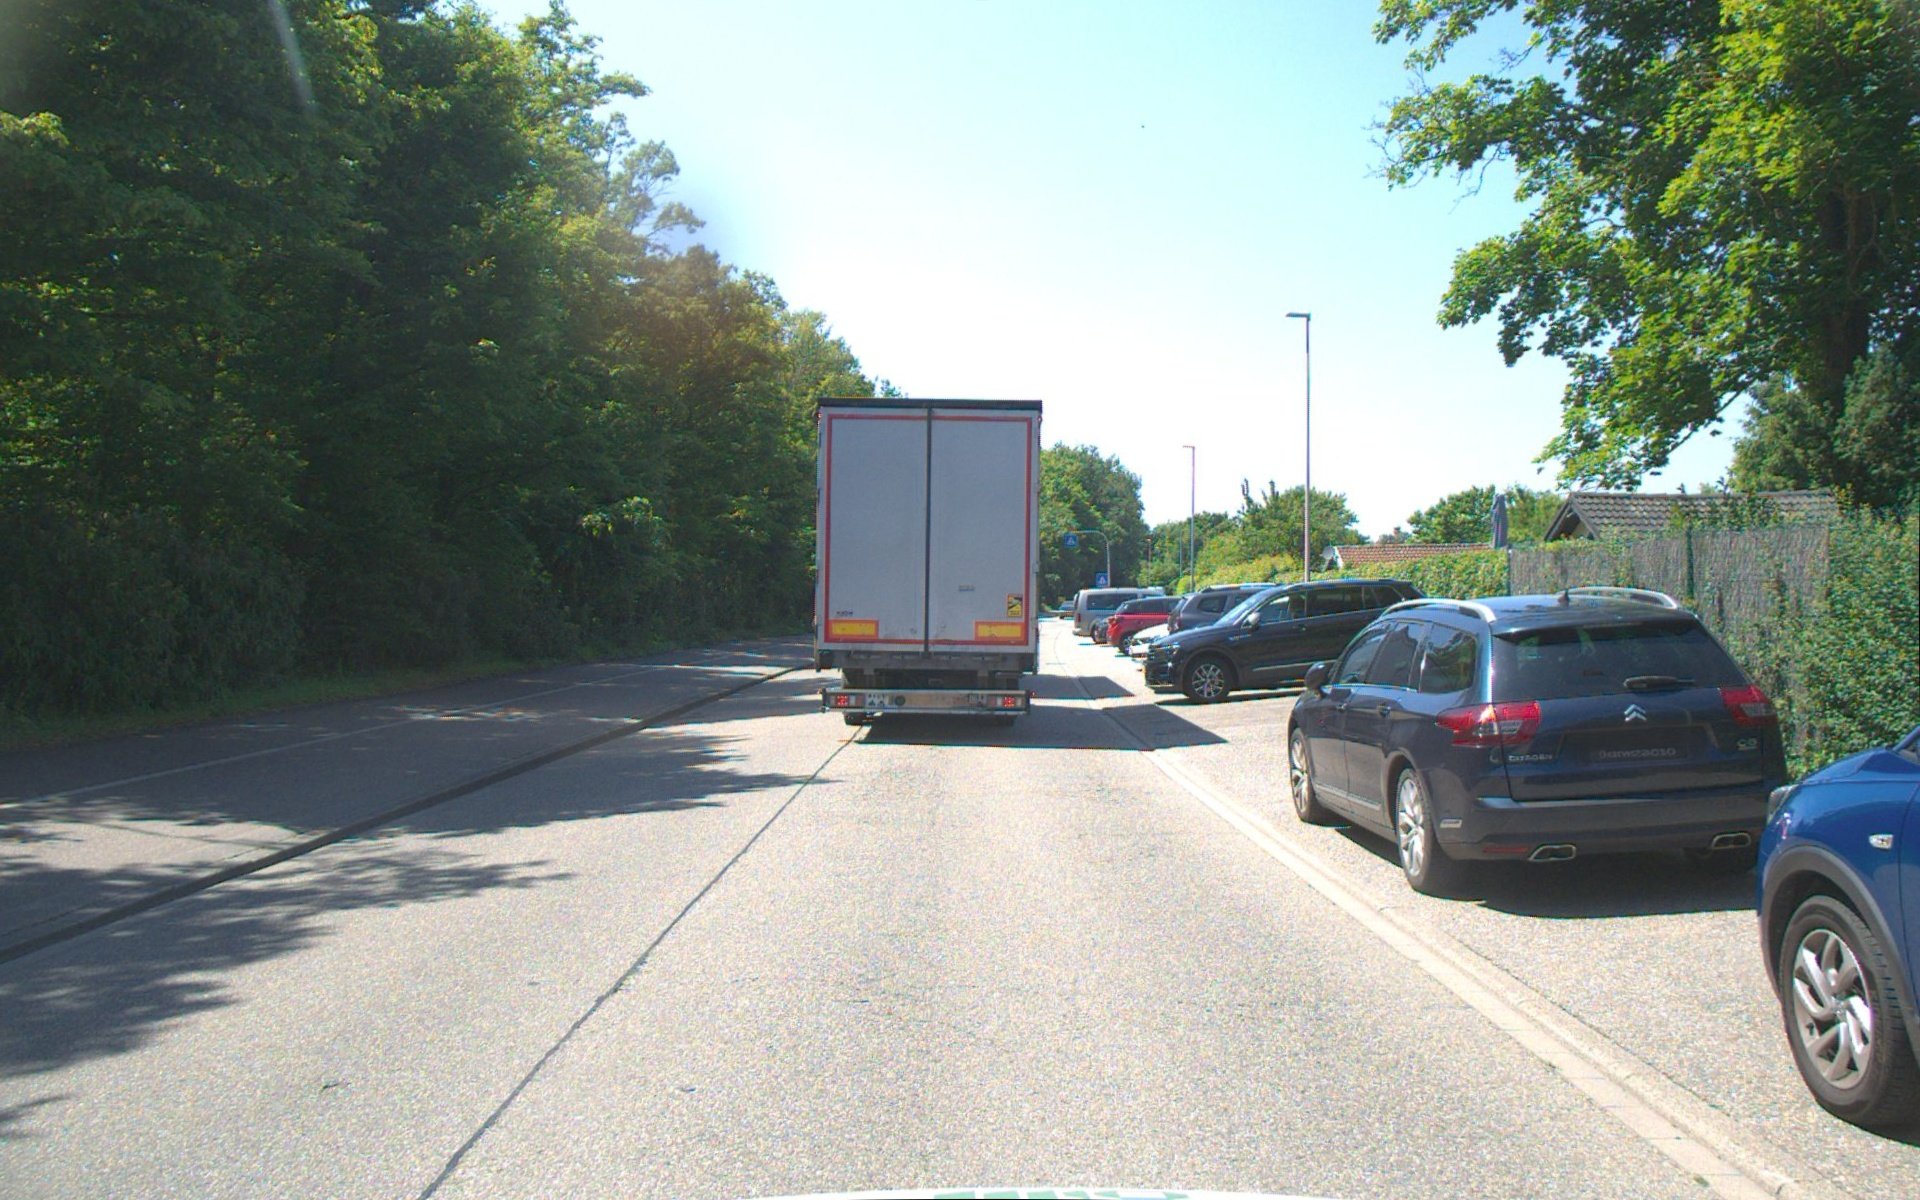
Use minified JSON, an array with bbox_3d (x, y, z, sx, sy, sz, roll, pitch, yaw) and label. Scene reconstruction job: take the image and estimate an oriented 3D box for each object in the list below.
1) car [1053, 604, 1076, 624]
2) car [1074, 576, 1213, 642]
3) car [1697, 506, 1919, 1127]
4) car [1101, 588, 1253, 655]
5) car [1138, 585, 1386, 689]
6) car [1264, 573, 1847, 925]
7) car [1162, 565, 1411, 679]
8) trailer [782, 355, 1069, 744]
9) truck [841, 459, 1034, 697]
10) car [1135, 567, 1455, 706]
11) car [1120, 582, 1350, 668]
[{"bbox_3d":[8.236,1.073,129.696,1.743,1.512,4.002,0,0,4],"label":"car"},{"bbox_3d":[6.215,0.290,56.381,4.525,1.880,1.997,-4,0,3],"label":"car"},{"bbox_3d":[3.393,0.563,3.531,1.753,1.631,4.129,-1,1,0],"label":"car"},{"bbox_3d":[5.806,0.567,44.615,3.838,1.504,1.845,-4,0,3],"label":"car"},{"bbox_3d":[5.009,0.607,27.875,3.912,1.477,1.833,-3,0,6],"label":"car"},{"bbox_3d":[3.183,0.674,9.975,1.753,1.507,4.664,-4,0,0],"label":"car"},{"bbox_3d":[5.900,0.385,30.286,4.169,1.728,1.854,-4,0,3],"label":"car"},{"bbox_3d":[-0.367,-0.558,23.804,3.049,4.174,11.536,-1,0,0],"label":"trailer"},{"bbox_3d":[-0.338,-0.369,30.189,3.050,3.790,6.414,-2,0,0],"label":"truck"},{"bbox_3d":[4.999,0.522,25.119,4.379,1.733,1.913,-4,0,0],"label":"car"},{"bbox_3d":[5.787,0.507,35.182,4.466,1.464,1.961,-4,0,-1],"label":"car"}]
